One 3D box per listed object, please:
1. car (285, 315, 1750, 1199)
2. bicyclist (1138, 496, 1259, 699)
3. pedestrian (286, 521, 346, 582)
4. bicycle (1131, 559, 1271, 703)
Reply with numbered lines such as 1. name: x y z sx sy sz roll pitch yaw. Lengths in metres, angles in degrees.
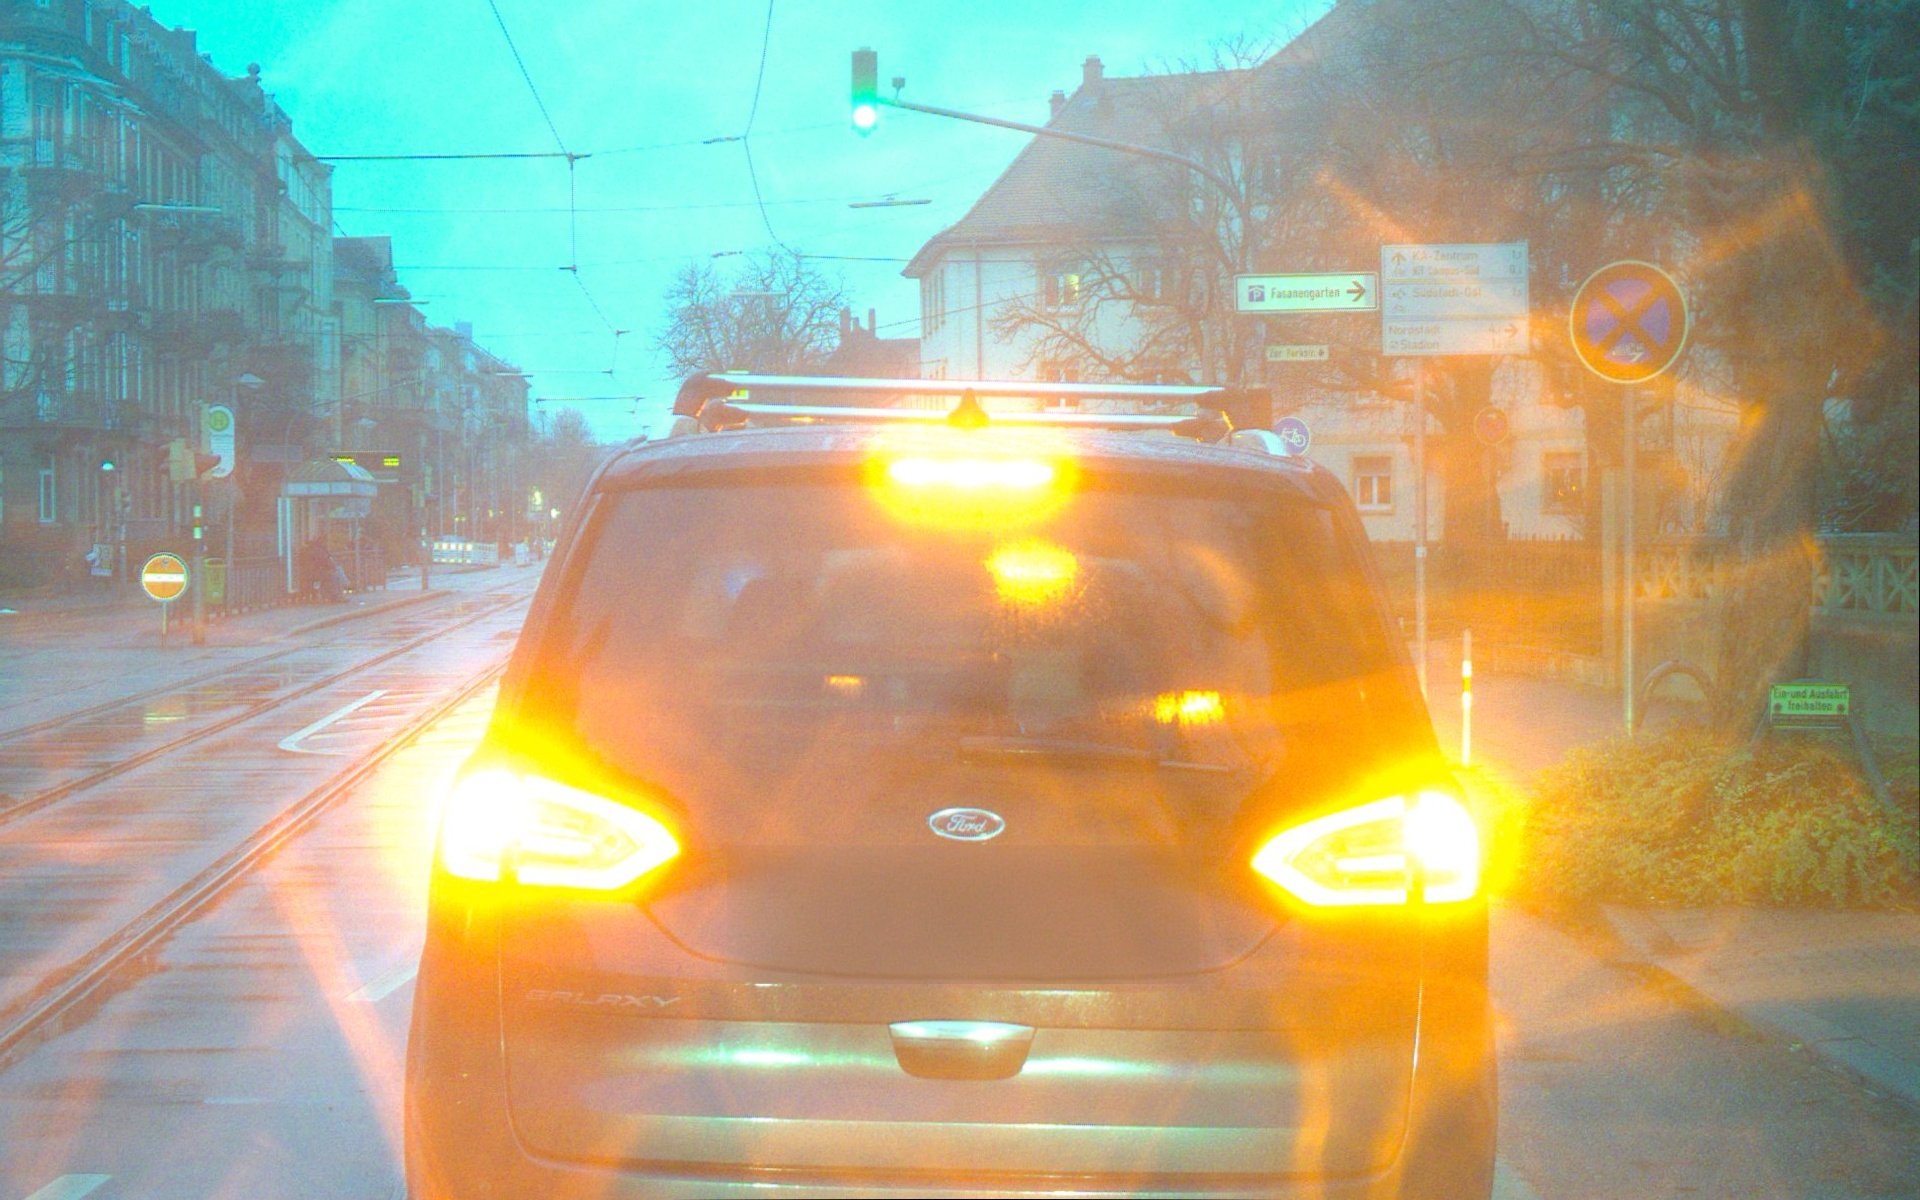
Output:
1. car: -0.006 0.469 7.342 2.103 1.810 4.661 1 1 -2
2. bicyclist: 2.016 -0.035 29.203 0.716 1.657 1.057 3 1 -8
3. pedestrian: -12.724 -0.960 67.921 1.047 1.196 0.885 0 0 -3
4. bicycle: 2.029 0.246 29.239 0.716 1.108 1.942 4 1 -9
